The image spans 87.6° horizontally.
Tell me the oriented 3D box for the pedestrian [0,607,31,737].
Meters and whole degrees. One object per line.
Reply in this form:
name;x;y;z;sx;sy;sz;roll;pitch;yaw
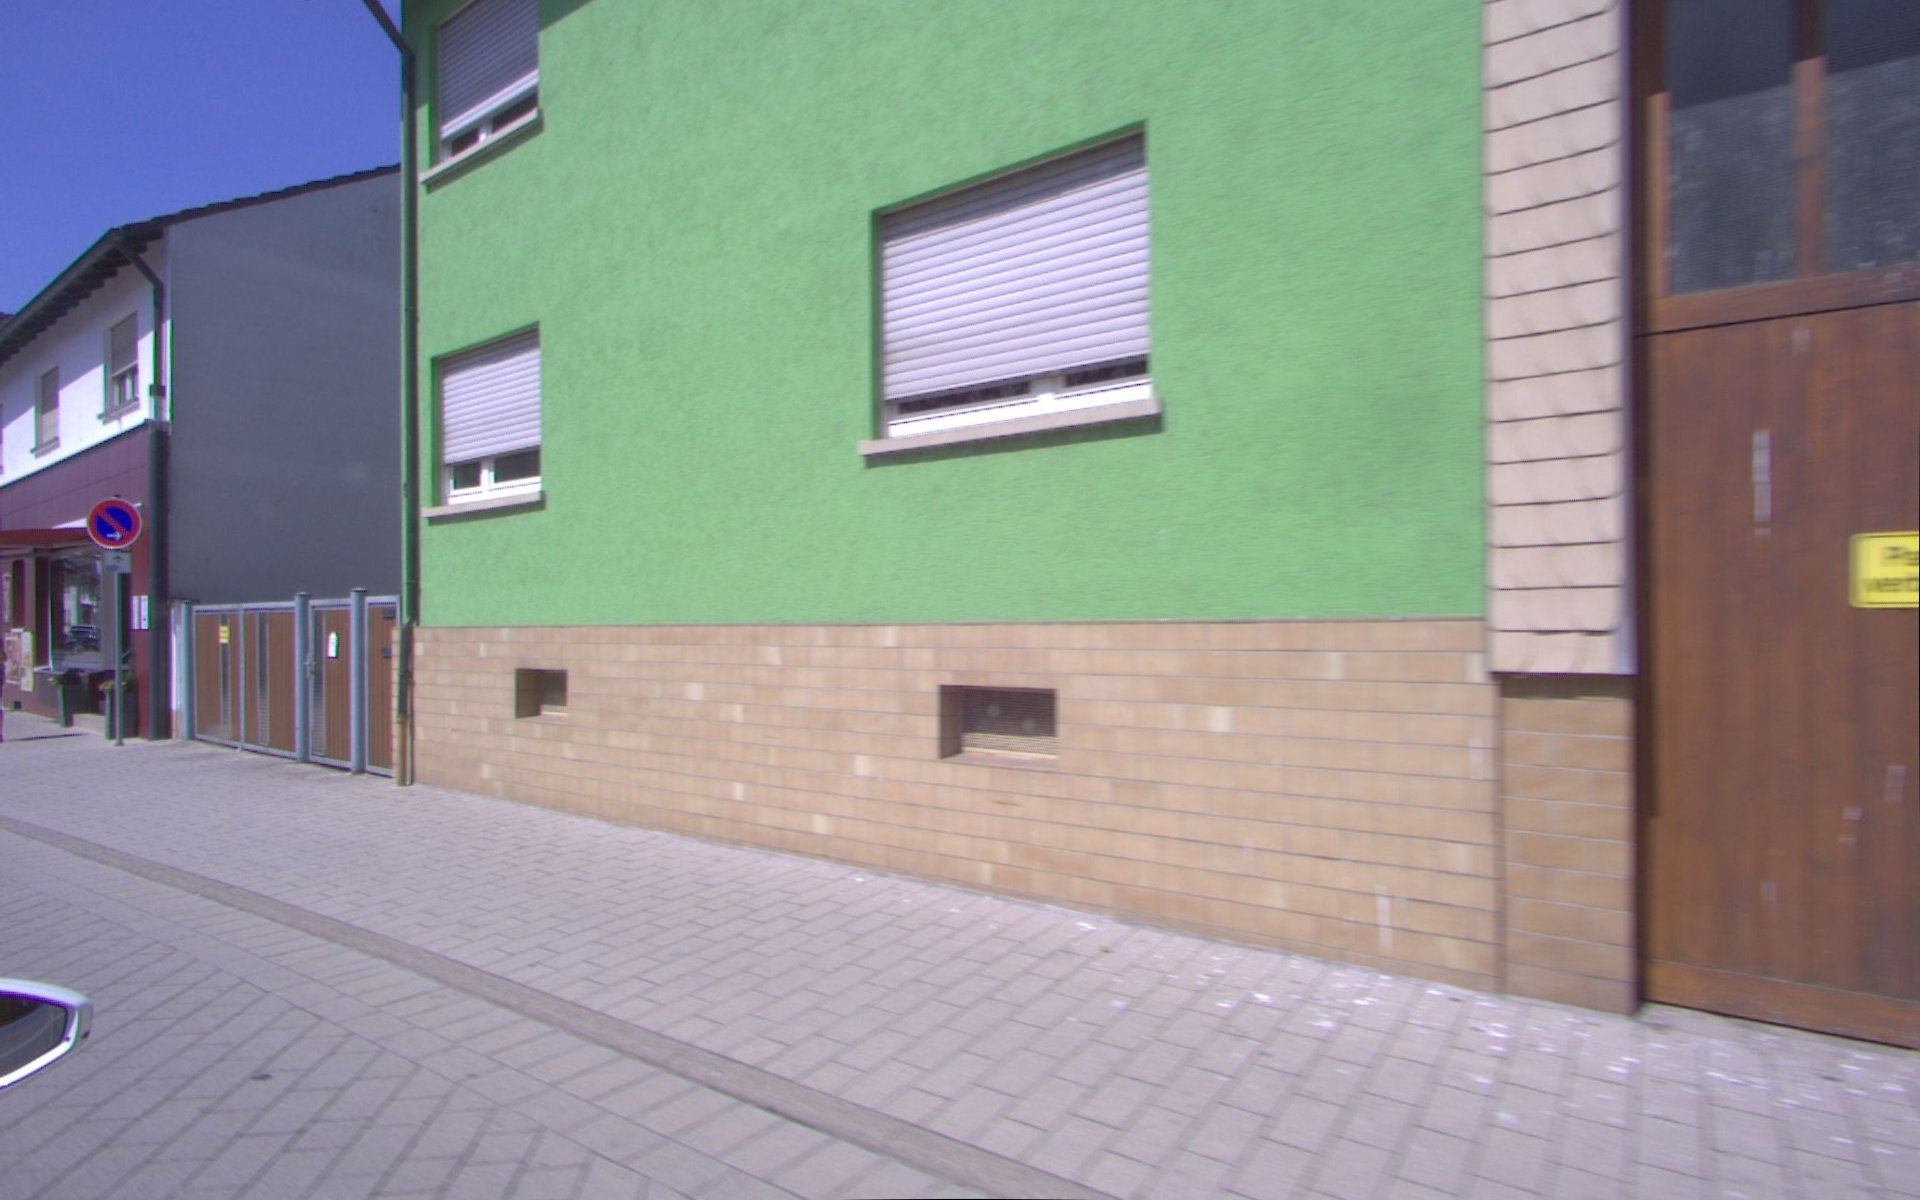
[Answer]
pedestrian;-12.684;0.943;13.016;0.740;1.662;0.726;-1;2;39
